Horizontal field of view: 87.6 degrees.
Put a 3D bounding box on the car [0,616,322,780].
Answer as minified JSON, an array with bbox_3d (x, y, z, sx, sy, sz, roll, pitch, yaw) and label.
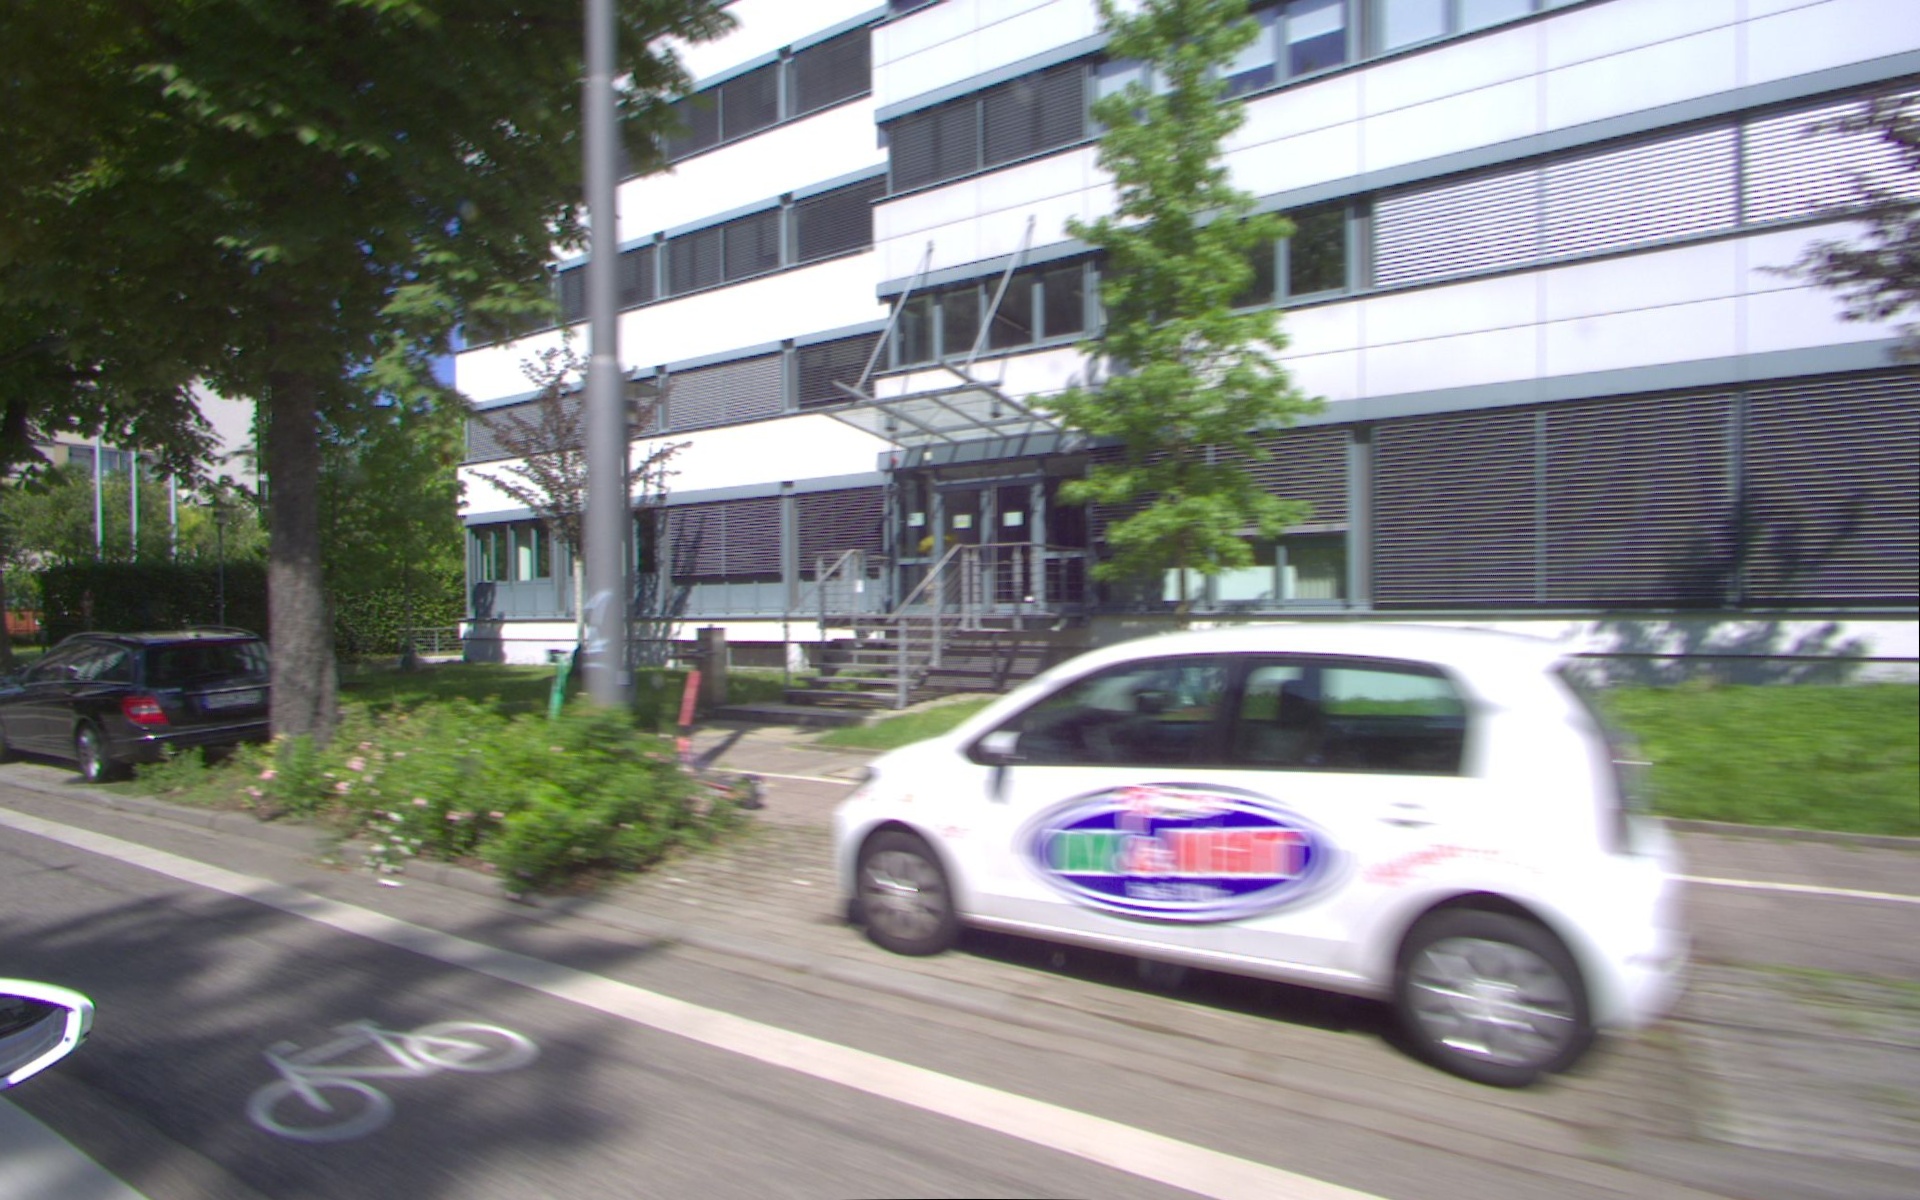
[{"bbox_3d":[-9.042,0.946,11.043,4.209,1.503,1.628,-1,0,30],"label":"car"}]

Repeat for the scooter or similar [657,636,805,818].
[{"bbox_3d":[-1.809,0.952,7.871,1.141,1.318,0.471,-1,0,33],"label":"scooter or similar"}]

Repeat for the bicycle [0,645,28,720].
[{"bbox_3d":[-14.843,1.239,14.626,0.562,1.100,1.721,0,0,31],"label":"bicycle"}]

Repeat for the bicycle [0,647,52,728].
[{"bbox_3d":[-13.812,1.231,13.878,0.619,1.100,1.721,0,0,31],"label":"bicycle"}]

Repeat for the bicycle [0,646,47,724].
[{"bbox_3d":[-14.305,1.235,14.315,0.686,1.100,1.721,0,0,31],"label":"bicycle"}]

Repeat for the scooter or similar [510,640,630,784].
[{"bbox_3d":[-3.456,0.958,8.856,1.141,1.189,0.400,-1,0,33],"label":"scooter or similar"}]

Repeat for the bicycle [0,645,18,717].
[{"bbox_3d":[-15.336,1.246,14.972,0.580,1.100,1.721,0,0,31],"label":"bicycle"}]

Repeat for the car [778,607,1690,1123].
[{"bbox_3d":[1.049,0.799,4.565,3.580,1.491,1.626,-1,-1,33],"label":"car"}]
